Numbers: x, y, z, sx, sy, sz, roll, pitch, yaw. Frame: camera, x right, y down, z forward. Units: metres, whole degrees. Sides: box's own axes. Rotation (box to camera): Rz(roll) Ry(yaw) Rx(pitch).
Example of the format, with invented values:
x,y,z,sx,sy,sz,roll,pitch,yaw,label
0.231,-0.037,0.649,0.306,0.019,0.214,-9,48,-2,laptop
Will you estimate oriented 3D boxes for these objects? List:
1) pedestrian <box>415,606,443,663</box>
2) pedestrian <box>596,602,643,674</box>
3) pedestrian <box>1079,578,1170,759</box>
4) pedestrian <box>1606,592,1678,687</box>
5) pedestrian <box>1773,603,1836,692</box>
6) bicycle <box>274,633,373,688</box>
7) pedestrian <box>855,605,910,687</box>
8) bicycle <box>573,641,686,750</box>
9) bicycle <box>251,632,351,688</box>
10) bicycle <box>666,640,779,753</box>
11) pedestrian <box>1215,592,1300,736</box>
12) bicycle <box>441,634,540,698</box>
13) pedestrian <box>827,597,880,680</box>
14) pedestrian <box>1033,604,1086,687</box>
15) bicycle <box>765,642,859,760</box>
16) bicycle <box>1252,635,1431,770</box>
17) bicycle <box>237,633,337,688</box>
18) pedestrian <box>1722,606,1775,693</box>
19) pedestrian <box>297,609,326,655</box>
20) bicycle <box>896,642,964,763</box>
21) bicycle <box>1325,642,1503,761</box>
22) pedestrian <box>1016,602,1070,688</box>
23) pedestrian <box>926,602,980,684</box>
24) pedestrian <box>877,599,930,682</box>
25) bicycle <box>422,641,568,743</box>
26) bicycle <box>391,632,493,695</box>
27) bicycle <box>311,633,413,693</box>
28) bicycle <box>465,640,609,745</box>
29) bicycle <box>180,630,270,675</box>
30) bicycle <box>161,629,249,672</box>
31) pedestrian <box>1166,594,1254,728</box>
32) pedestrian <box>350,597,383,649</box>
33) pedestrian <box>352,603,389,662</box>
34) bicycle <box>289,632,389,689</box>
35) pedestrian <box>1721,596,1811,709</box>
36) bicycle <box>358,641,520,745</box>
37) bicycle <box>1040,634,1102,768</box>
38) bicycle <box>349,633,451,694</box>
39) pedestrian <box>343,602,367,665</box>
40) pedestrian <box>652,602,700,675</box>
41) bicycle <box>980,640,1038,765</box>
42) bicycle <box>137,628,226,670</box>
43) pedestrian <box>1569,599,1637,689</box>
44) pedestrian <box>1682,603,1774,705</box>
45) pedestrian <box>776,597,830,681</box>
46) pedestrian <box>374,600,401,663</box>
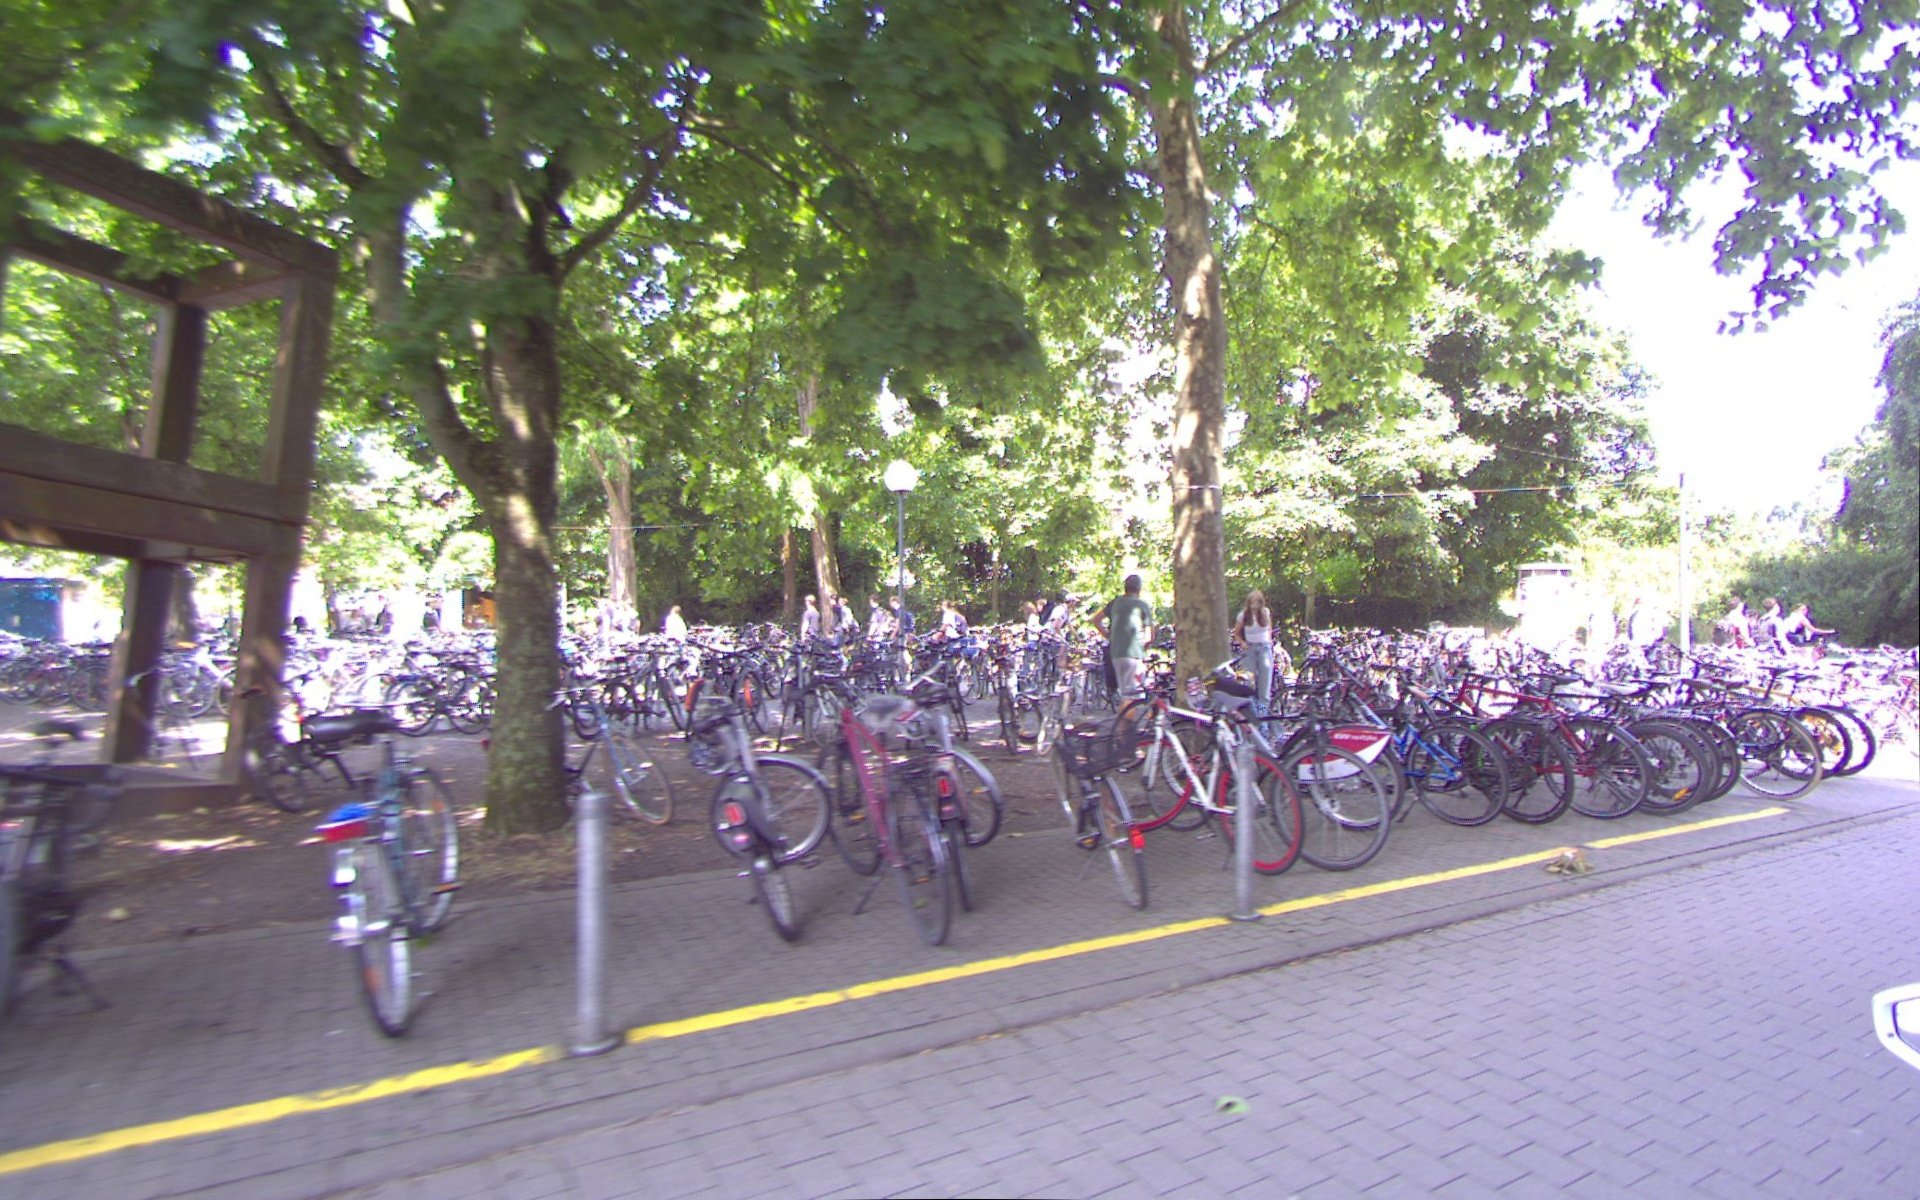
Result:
x,y,z,sx,sy,sz,roll,pitch,yaw,label
-17.048,1.097,32.226,0.761,1.798,0.900,1,0,-30,pedestrian
-8.747,0.955,25.836,0.892,1.798,0.767,0,0,37,pedestrian
1.745,0.693,10.608,0.756,1.831,0.709,1,0,27,pedestrian
13.610,0.777,20.067,0.869,1.839,0.831,1,0,-19,pedestrian
17.074,0.940,20.314,0.925,1.747,0.673,-1,-1,44,pedestrian
-13.573,1.264,21.471,0.465,1.098,1.858,1,0,22,bicycle
-1.654,0.960,21.373,0.890,1.702,0.769,0,0,26,pedestrian
-3.805,1.068,11.710,0.492,1.123,1.701,1,0,10,bicycle
-14.115,1.261,21.584,0.465,1.098,1.858,1,0,22,bicycle
-2.650,1.045,11.404,0.618,1.123,1.701,1,0,10,bicycle
3.665,0.769,12.455,0.755,1.725,0.907,1,0,-2,pedestrian
-8.752,1.210,18.800,0.465,1.098,1.858,1,0,22,bicycle
-2.368,0.850,22.380,0.890,1.798,0.769,0,0,26,pedestrian
2.125,0.951,21.439,0.890,1.702,0.769,0,0,26,pedestrian
-1.580,1.048,10.949,0.492,1.123,1.701,1,0,10,bicycle
3.886,1.000,10.330,0.499,1.236,1.679,1,0,-41,bicycle
-14.632,1.288,21.881,0.465,1.098,1.858,1,0,22,bicycle
16.227,1.004,20.684,0.673,1.747,0.731,-1,-1,23,pedestrian
-26.093,1.282,40.440,0.894,1.826,0.766,0,0,42,pedestrian
-0.289,1.033,10.631,0.492,1.123,1.700,1,0,6,bicycle
4.832,1.039,10.780,0.499,1.123,1.679,1,0,-41,bicycle
1.707,0.907,20.650,0.890,1.702,0.769,0,0,26,pedestrian
-0.148,0.895,21.369,0.890,1.702,0.769,0,0,26,pedestrian
-1.244,0.873,22.217,0.890,1.798,0.769,0,0,26,pedestrian
-5.728,1.095,12.479,0.493,1.123,1.779,1,0,22,bicycle
-9.815,1.185,19.098,0.465,1.098,1.858,1,0,22,bicycle
-12.009,1.240,20.244,0.465,1.098,1.858,1,0,22,bicycle
-5.080,1.075,12.187,0.493,1.123,1.779,1,0,22,bicycle
-19.166,1.343,26.229,0.465,1.098,1.856,1,0,28,bicycle
-20.173,1.332,26.876,0.465,1.098,1.856,1,0,28,bicycle
3.371,0.794,13.558,0.899,1.725,0.762,1,0,-37,pedestrian
-20.675,0.798,34.997,0.894,1.798,0.766,0,0,42,pedestrian
-18.483,1.006,31.477,0.894,1.798,0.766,0,0,42,pedestrian
-13.019,1.244,21.126,0.465,1.098,1.858,1,0,22,bicycle
13.453,0.866,16.781,0.922,1.860,0.686,0,-1,4,pedestrian
-6.364,1.093,12.396,0.493,1.123,1.906,1,0,22,bicycle
1.133,0.976,10.331,0.564,1.215,1.700,1,0,6,bicycle
-10.891,1.217,19.608,0.465,1.098,1.858,1,0,22,bicycle
-17.343,0.954,28.793,0.498,1.795,0.663,1,0,-38,pedestrian
-7.151,0.960,25.275,0.893,1.798,0.767,0,0,38,pedestrian
0.532,1.010,10.427,0.492,1.123,1.700,1,0,6,bicycle
-21.190,1.322,27.366,0.467,1.098,1.849,1,-1,42,bicycle
13.342,0.904,20.856,0.969,1.828,0.766,1,0,-20,pedestrian
13.441,0.939,17.609,1.043,1.747,0.719,0,-1,2,pedestrian
-3.460,0.843,22.192,0.890,1.798,0.769,0,0,26,pedestrian
-16.704,0.908,29.286,0.604,1.798,0.652,1,0,-36,pedestrian
